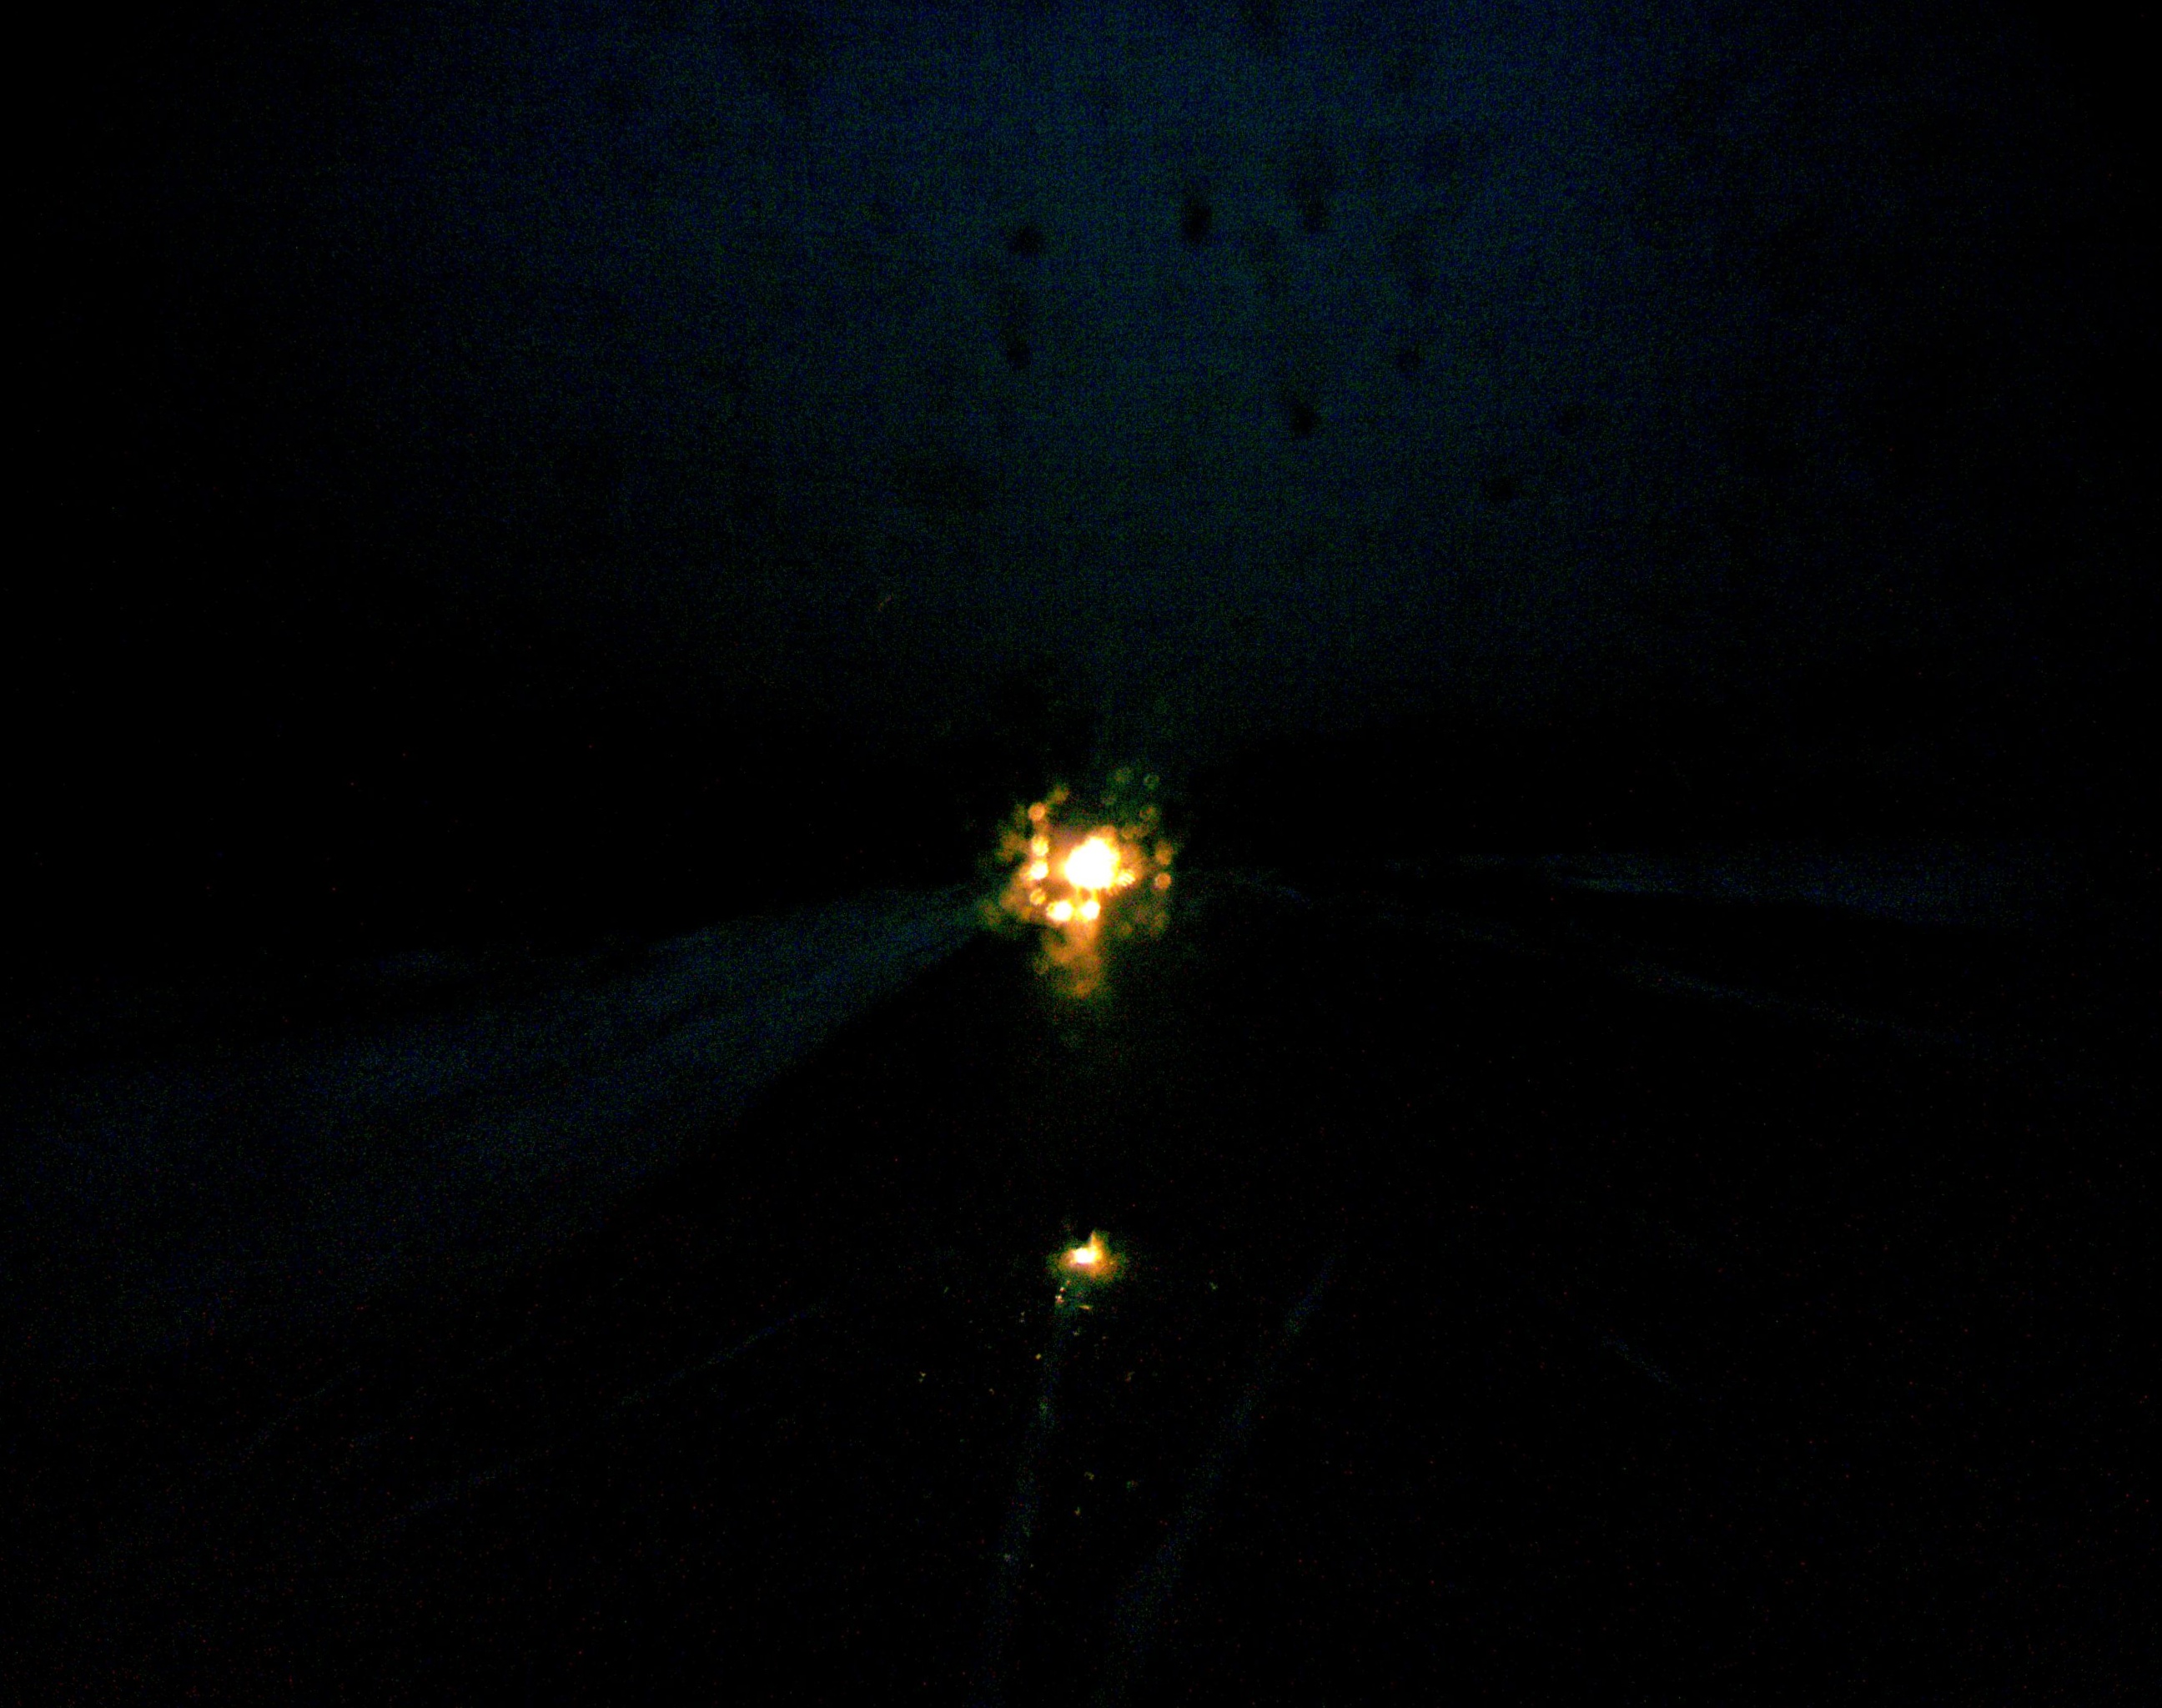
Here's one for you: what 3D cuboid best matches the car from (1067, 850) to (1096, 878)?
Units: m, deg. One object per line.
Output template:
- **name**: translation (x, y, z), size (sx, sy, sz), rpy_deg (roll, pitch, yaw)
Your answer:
- **car**: translation (0.084, 0.759, 61.960), size (1.998, 2.002, 4.000), rpy_deg (-4, 1, 4)
